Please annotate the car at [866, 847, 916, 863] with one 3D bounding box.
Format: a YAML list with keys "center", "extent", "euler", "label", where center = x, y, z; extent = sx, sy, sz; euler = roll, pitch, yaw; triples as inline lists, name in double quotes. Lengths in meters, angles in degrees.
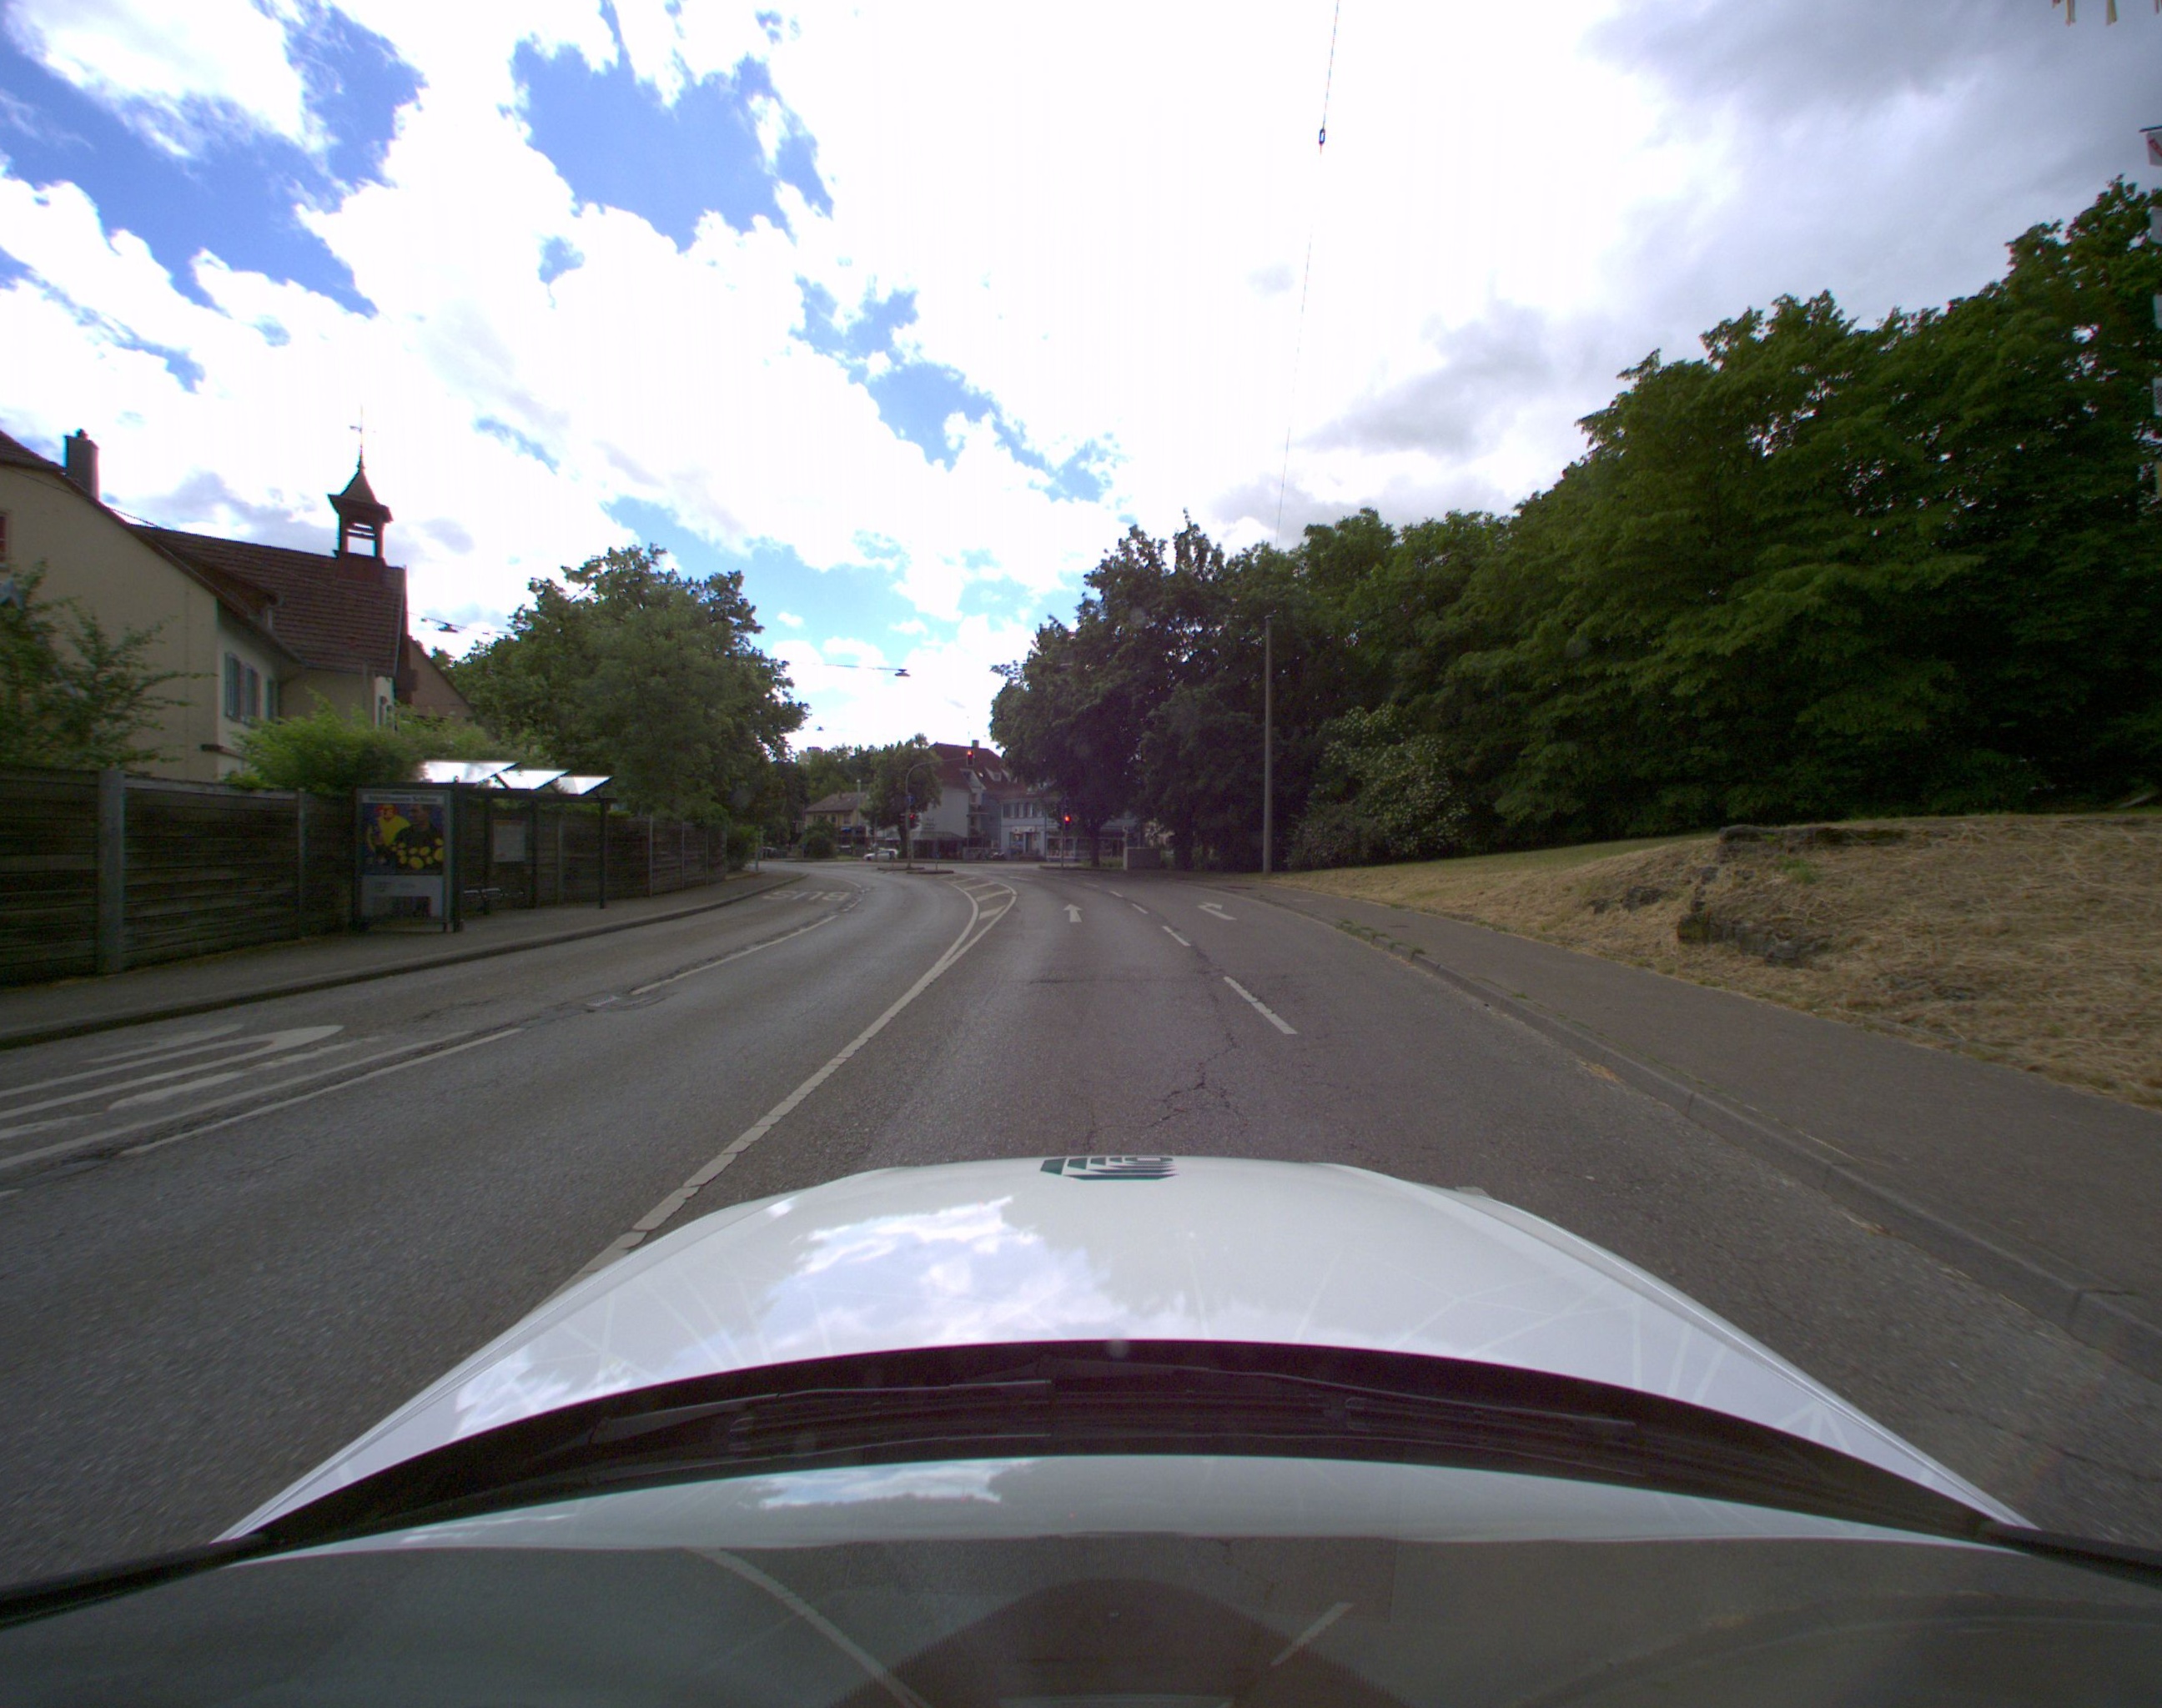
- center: [-19.298, 0.110, 82.829]
  extent: [4.543, 1.517, 2.008]
  euler: [-1, 0, 15]
  label: "car"

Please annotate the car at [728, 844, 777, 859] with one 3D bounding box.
- center: [-34.894, -0.300, 86.601]
  extent: [4.543, 1.517, 2.008]
  euler: [-1, 0, 15]
  label: "car"

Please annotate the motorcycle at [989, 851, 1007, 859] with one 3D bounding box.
- center: [-9.037, 0.139, 89.040]
  extent: [1.822, 0.848, 0.563]
  euler: [-1, 6, 17]
  label: "motorcycle"

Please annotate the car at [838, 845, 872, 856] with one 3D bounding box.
- center: [-30.493, -0.450, 109.786]
  extent: [4.019, 1.486, 1.740]
  euler: [-1, 1, -38]
  label: "car"

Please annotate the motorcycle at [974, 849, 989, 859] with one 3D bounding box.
- center: [-11.027, -0.004, 90.254]
  extent: [1.484, 1.106, 0.563]
  euler: [-1, 5, 13]
  label: "motorcycle"
